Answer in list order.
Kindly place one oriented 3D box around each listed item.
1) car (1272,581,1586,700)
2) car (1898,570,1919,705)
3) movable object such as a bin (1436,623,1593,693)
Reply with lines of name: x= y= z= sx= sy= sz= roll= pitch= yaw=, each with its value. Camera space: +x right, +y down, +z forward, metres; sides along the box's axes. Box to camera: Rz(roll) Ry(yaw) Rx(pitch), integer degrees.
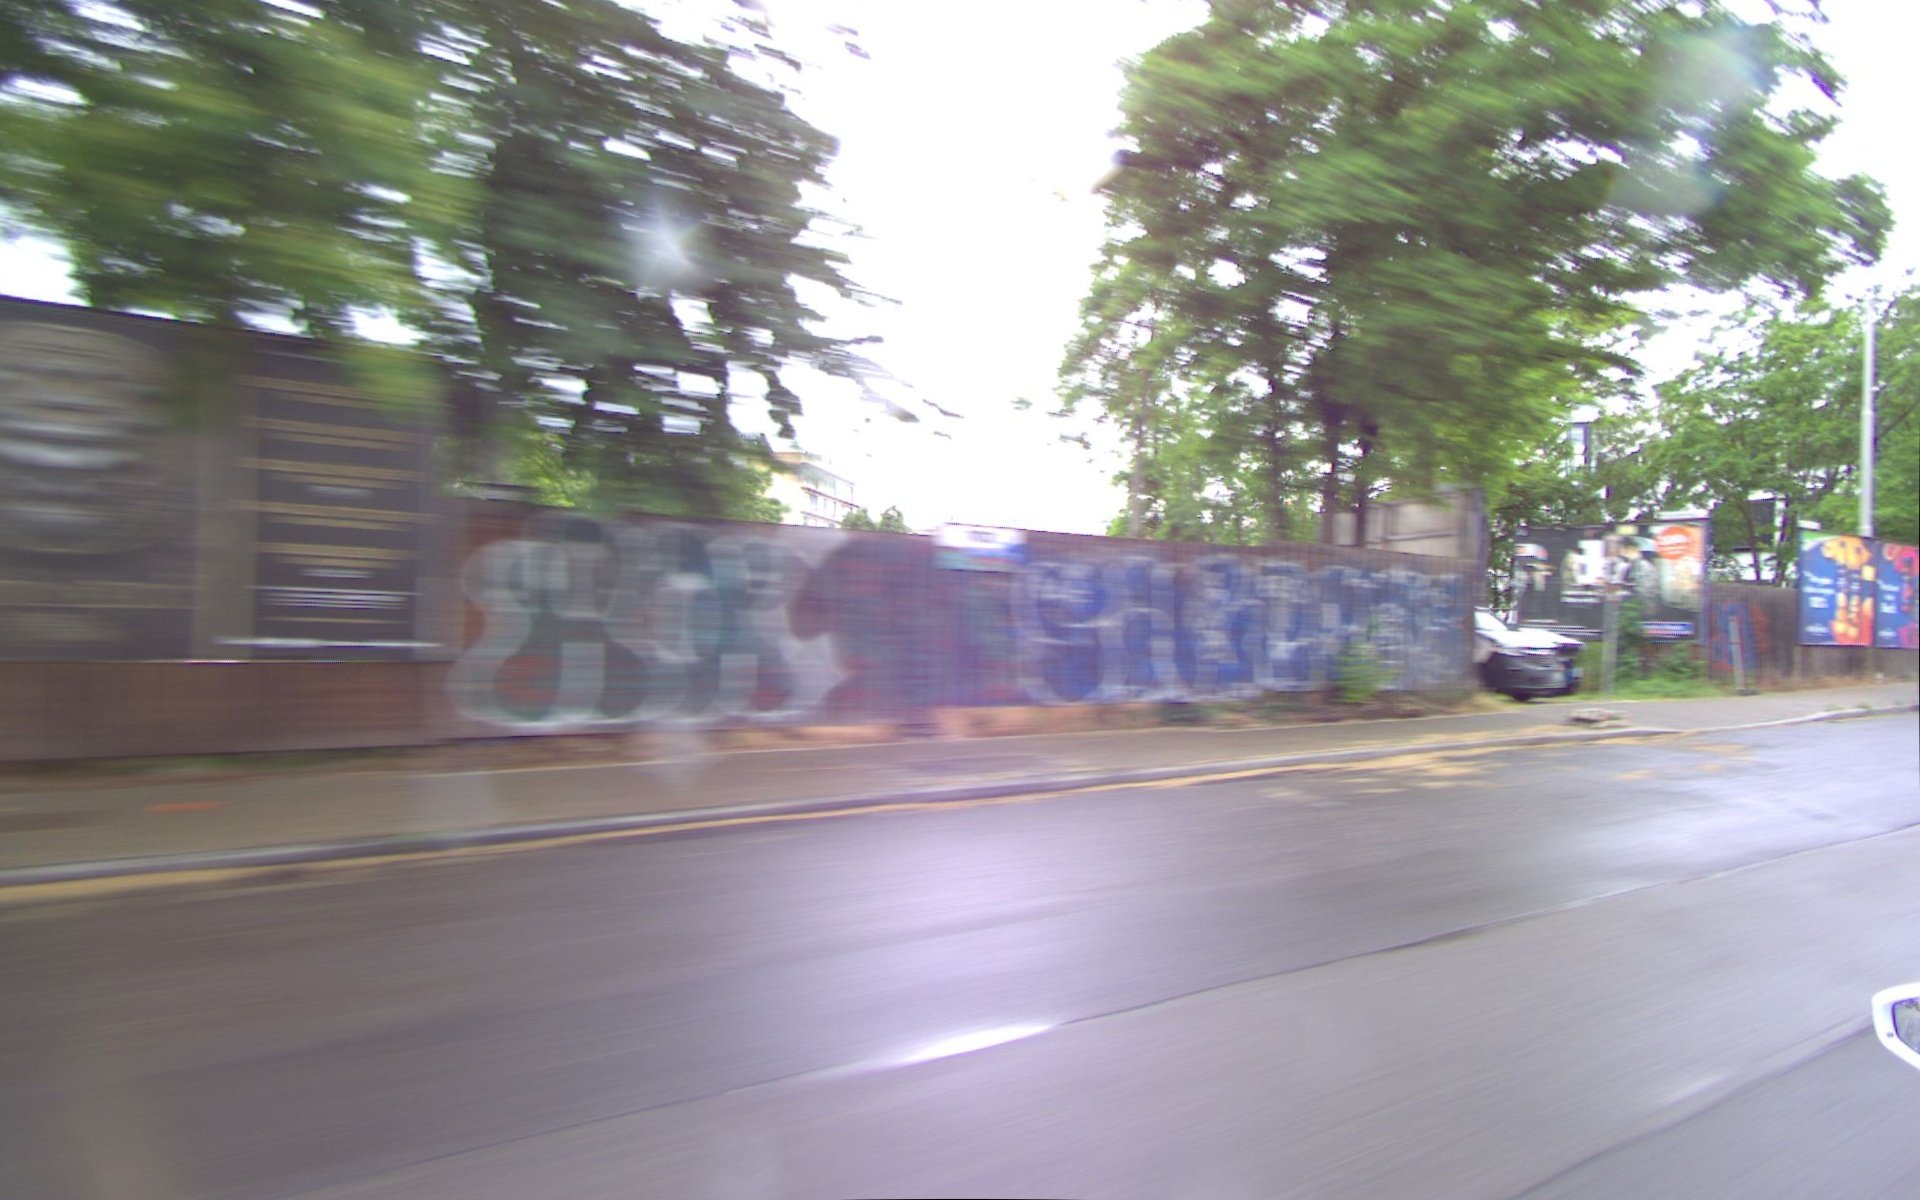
car: x=9.115 y=0.802 z=20.112 sx=2.122 sy=2.036 sz=5.471 roll=2 pitch=-2 yaw=-31
car: x=20.816 y=0.752 z=19.593 sx=5.912 sy=2.520 sz=2.003 roll=2 pitch=-2 yaw=-30
movable object such as a bin: x=12.176 y=1.247 z=22.129 sx=1.664 sy=1.442 sz=2.668 roll=2 pitch=-3 yaw=-43
